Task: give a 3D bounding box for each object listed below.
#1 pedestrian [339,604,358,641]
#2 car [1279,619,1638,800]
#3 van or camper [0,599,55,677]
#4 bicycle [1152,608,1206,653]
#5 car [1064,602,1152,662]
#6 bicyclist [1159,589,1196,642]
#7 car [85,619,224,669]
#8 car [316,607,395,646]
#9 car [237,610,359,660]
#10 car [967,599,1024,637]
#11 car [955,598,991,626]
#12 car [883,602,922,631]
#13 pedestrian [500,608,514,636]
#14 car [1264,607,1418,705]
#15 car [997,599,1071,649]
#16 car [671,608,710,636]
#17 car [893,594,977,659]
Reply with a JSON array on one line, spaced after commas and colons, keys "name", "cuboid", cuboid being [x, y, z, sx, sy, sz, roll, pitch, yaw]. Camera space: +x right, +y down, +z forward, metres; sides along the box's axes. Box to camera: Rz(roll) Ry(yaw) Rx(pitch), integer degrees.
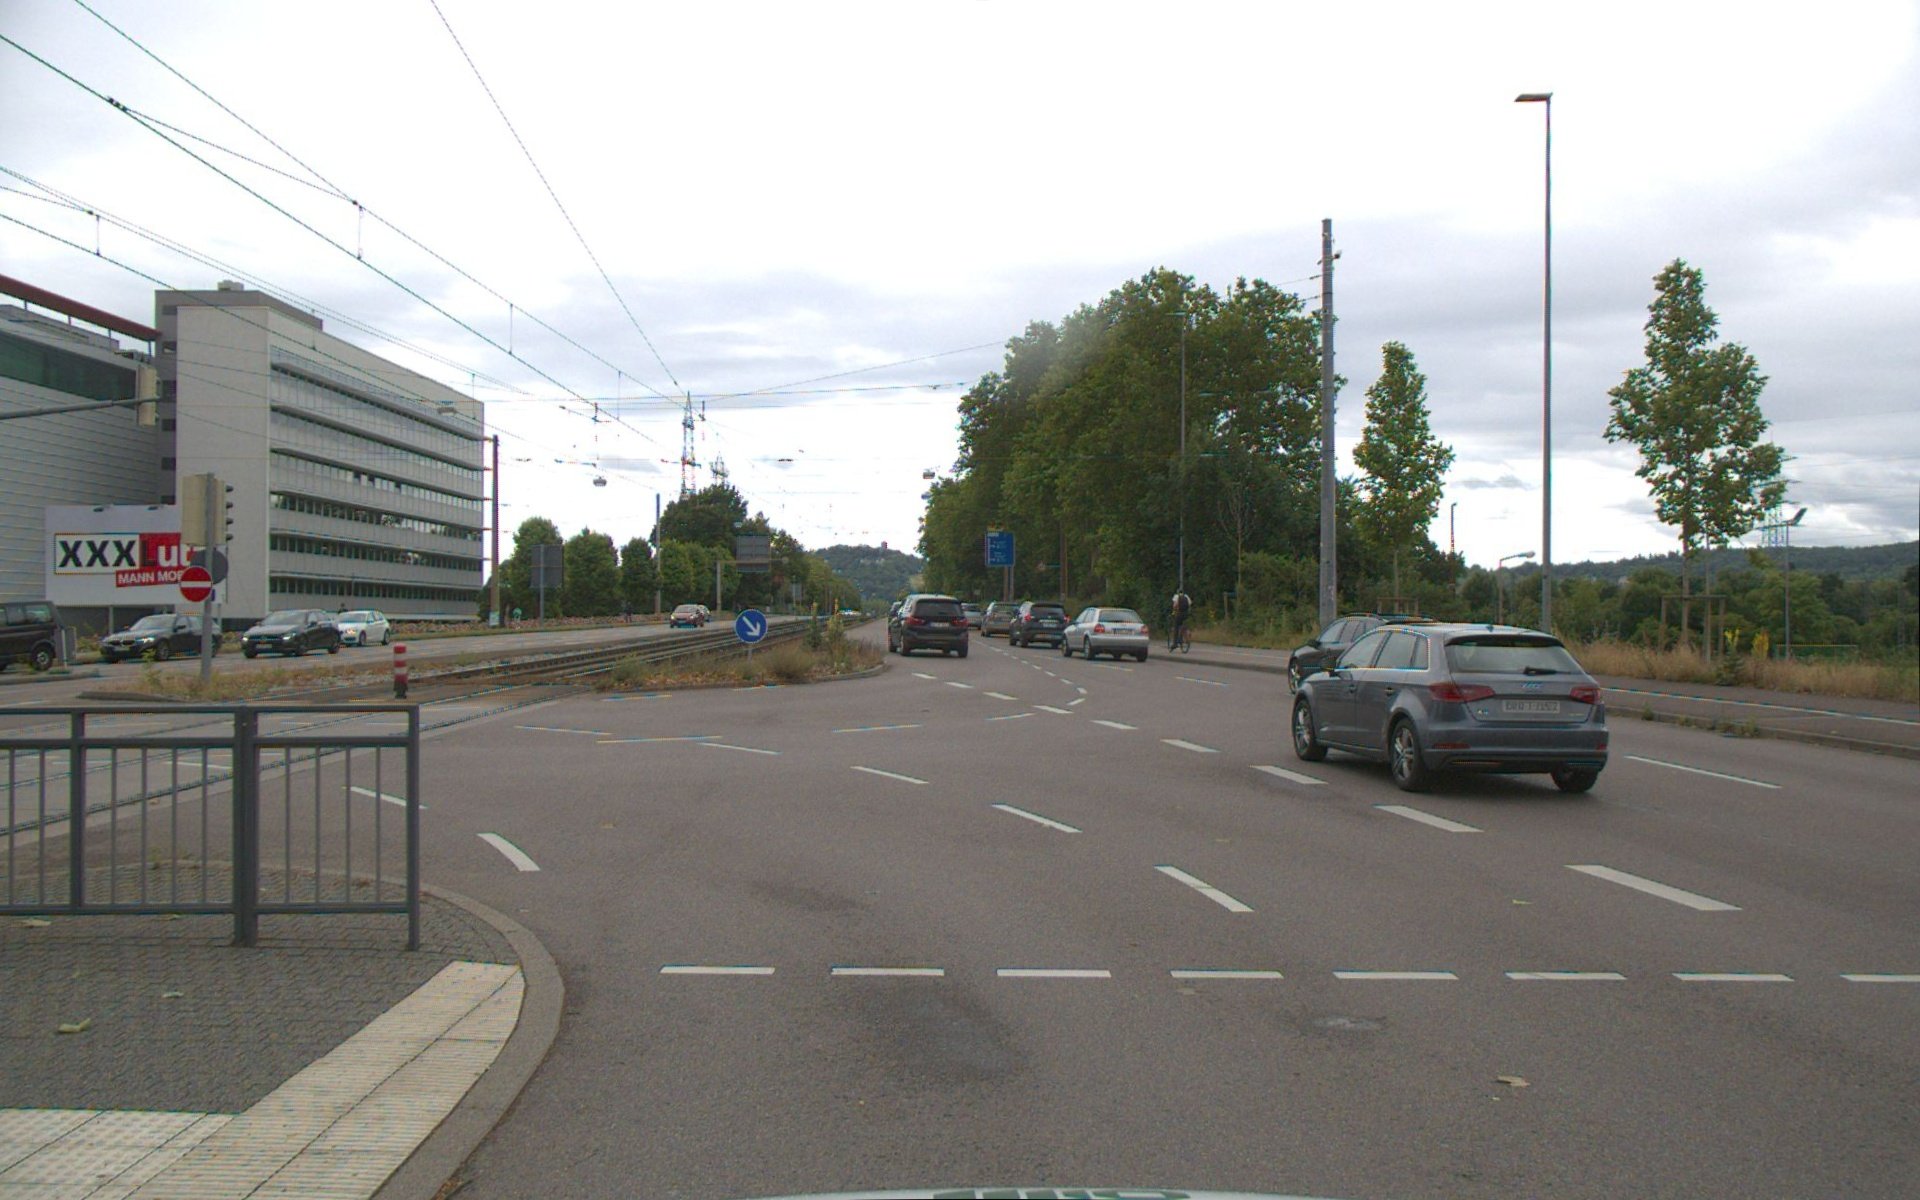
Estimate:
[{"name": "pedestrian", "cuboid": [-30.361, 1.139, 82.169, 0.690, 1.822, 0.634, 2, -2, -38]}, {"name": "car", "cuboid": [4.477, 0.920, 15.532, 1.705, 1.426, 4.070, 1, 0, -8]}, {"name": "van or camper", "cuboid": [-26.930, 1.106, 44.114, 2.072, 2.048, 4.757, -3, 0, 16]}, {"name": "bicycle", "cuboid": [6.456, 0.885, 48.945, 0.802, 1.205, 2.515, -1, 1, -11]}, {"name": "car", "cuboid": [4.053, 0.858, 45.881, 1.695, 1.535, 3.627, 1, 0, -7]}, {"name": "bicyclist", "cuboid": [6.419, 0.450, 48.891, 0.802, 1.504, 0.997, -1, 1, -12]}, {"name": "car", "cuboid": [-25.264, 1.343, 52.044, 1.921, 1.490, 4.324, 0, -1, 6]}, {"name": "car", "cuboid": [-24.621, 1.066, 67.452, 1.692, 1.566, 4.046, 0, -1, 1]}, {"name": "car", "cuboid": [-20.817, 1.073, 52.160, 1.792, 1.490, 4.210, 0, -1, 6]}, {"name": "car", "cuboid": [1.567, 0.819, 73.937, 1.822, 1.589, 4.308, 2, -1, -8]}, {"name": "car", "cuboid": [0.705, 0.698, 92.600, 1.779, 1.506, 3.669, 1, -1, -3]}, {"name": "car", "cuboid": [-2.987, 0.840, 85.521, 1.713, 1.456, 3.370, 1, 0, -7]}, {"name": "pedestrian", "cuboid": [-27.689, 1.340, 101.144, 0.534, 1.683, 0.612, 0, -2, 39]}, {"name": "car", "cuboid": [6.773, 0.946, 29.846, 1.700, 1.504, 4.318, 1, 1, -1]}, {"name": "car", "cuboid": [2.501, 0.832, 56.909, 1.821, 1.589, 4.311, 2, -1, -7]}, {"name": "car", "cuboid": [-17.713, 1.429, 108.791, 1.953, 1.758, 3.999, 0, -1, 0]}, {"name": "car", "cuboid": [-0.737, 0.686, 44.655, 1.797, 1.665, 4.310, 0, 0, -7]}]
